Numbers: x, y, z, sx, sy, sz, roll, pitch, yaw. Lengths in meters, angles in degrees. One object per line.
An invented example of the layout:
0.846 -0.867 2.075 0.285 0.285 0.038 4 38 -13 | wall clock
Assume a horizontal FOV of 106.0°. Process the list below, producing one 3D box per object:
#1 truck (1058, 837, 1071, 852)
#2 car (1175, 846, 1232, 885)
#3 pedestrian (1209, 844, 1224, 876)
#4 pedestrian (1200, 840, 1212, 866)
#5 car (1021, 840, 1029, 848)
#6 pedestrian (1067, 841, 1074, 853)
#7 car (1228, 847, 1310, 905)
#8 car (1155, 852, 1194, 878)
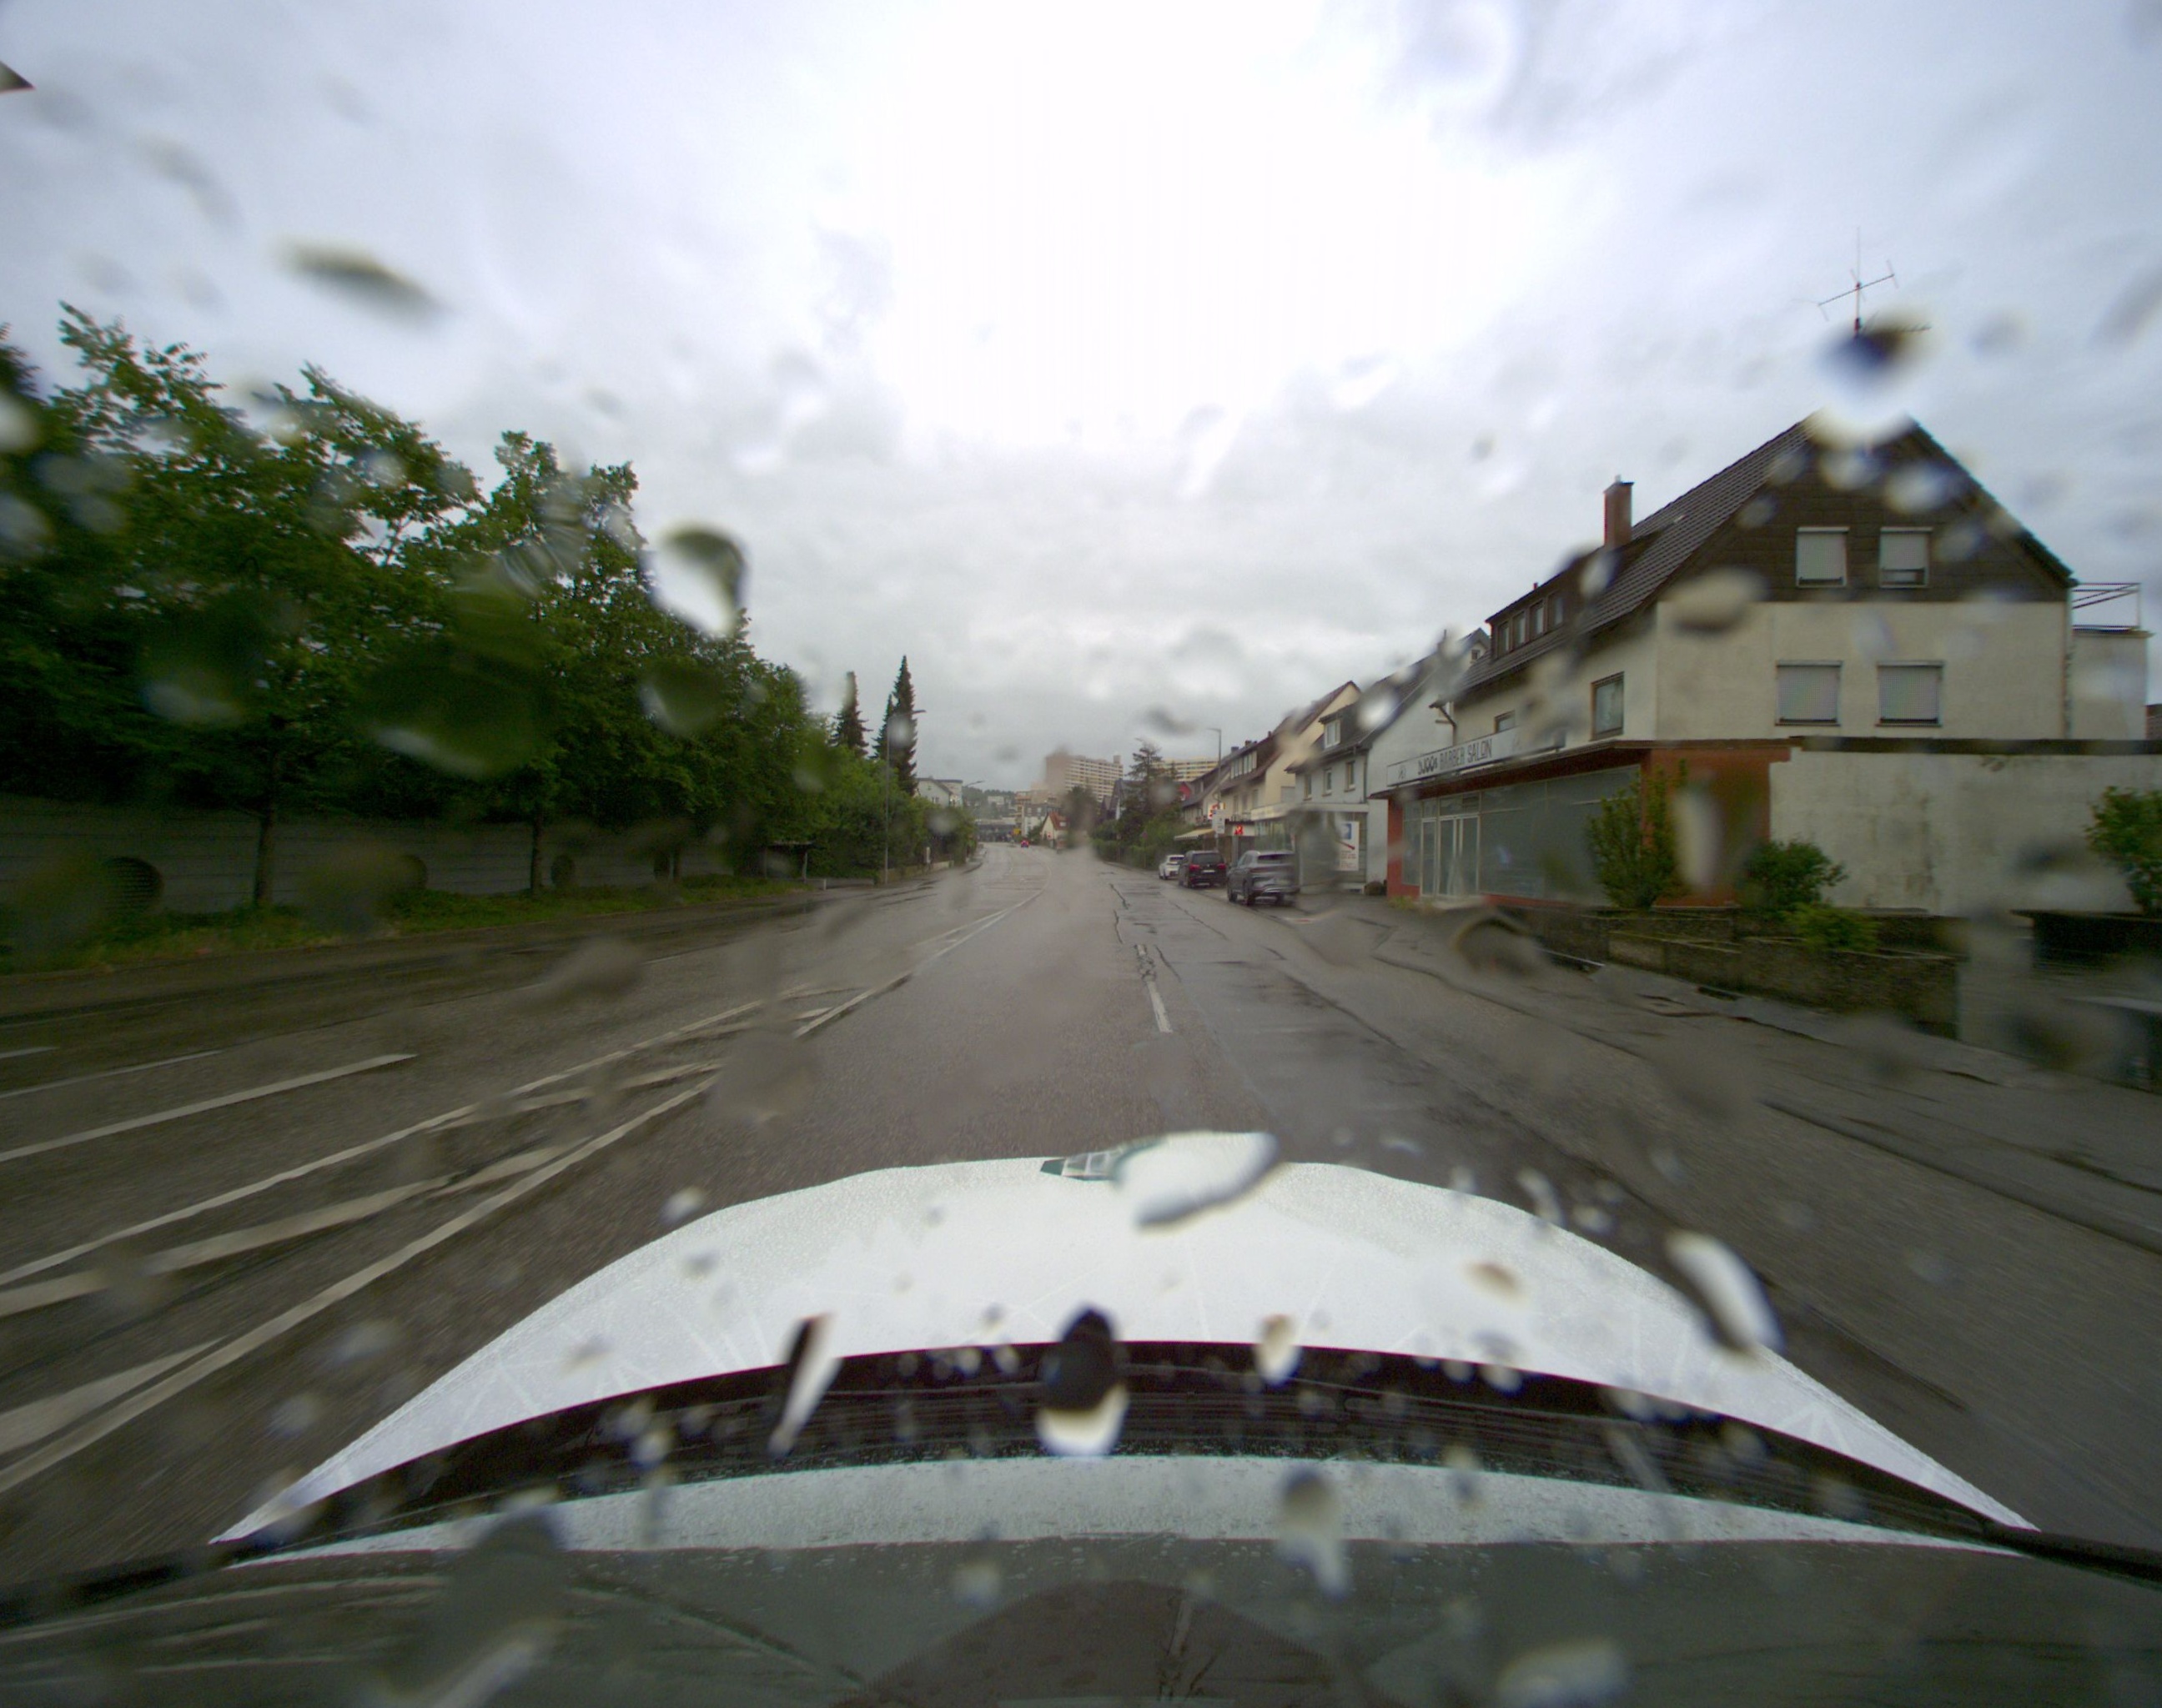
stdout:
-2.637 -1.502 129.855 1.988 2.303 3.997 0 1 -2 | truck
5.813 0.549 39.186 2.028 1.695 4.964 -2 -1 1 | car
7.947 0.350 47.771 0.616 1.891 0.651 1 0 35 | pedestrian
7.969 -0.052 51.921 0.554 1.678 0.511 1 0 -38 | pedestrian
-12.635 -2.319 184.581 1.791 1.669 3.994 0 0 -4 | car
-1.608 -1.126 125.194 0.827 1.797 0.794 0 1 -24 | pedestrian
5.976 0.665 26.385 1.866 1.643 4.798 -2 -1 4 | car
5.599 0.642 49.186 1.810 1.448 4.202 -1 0 -1 | car
